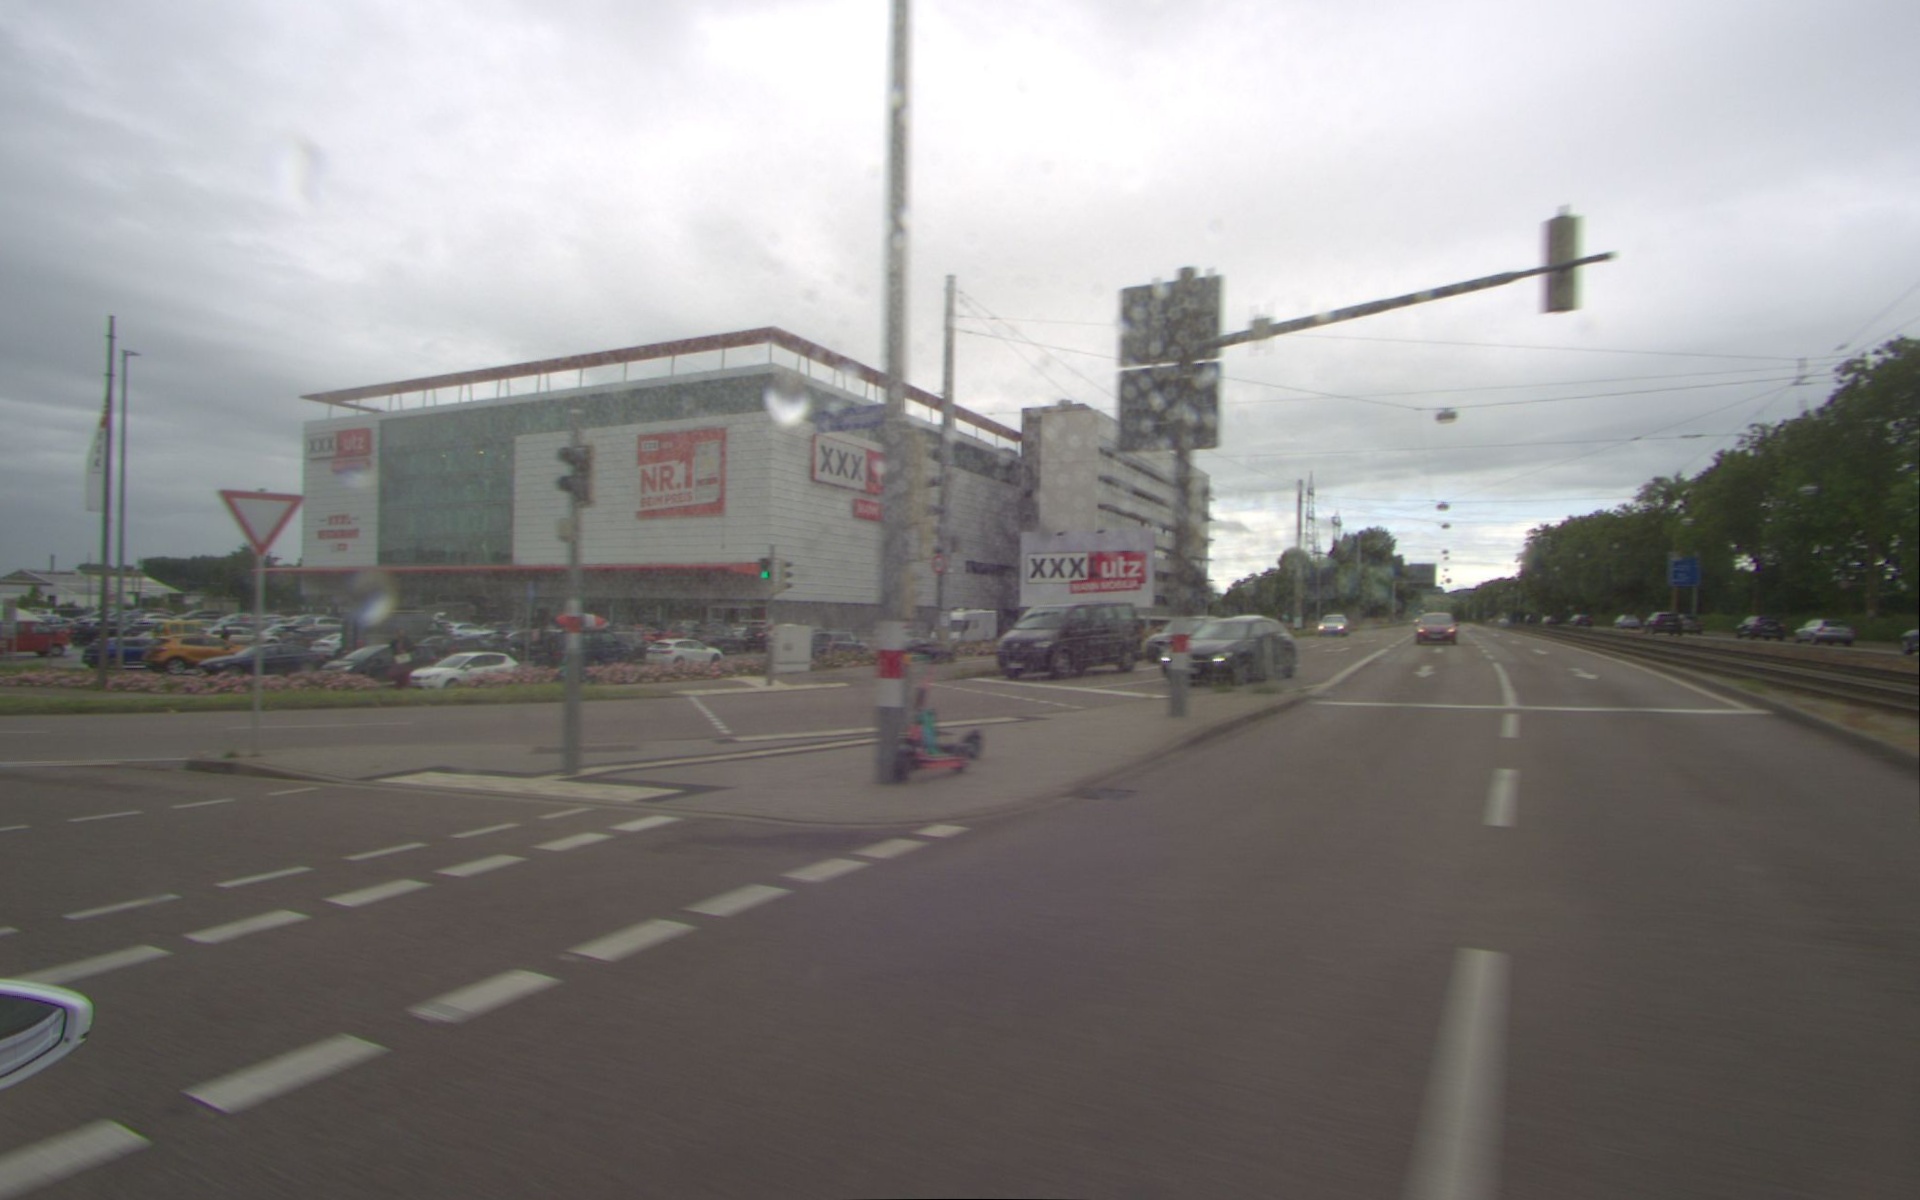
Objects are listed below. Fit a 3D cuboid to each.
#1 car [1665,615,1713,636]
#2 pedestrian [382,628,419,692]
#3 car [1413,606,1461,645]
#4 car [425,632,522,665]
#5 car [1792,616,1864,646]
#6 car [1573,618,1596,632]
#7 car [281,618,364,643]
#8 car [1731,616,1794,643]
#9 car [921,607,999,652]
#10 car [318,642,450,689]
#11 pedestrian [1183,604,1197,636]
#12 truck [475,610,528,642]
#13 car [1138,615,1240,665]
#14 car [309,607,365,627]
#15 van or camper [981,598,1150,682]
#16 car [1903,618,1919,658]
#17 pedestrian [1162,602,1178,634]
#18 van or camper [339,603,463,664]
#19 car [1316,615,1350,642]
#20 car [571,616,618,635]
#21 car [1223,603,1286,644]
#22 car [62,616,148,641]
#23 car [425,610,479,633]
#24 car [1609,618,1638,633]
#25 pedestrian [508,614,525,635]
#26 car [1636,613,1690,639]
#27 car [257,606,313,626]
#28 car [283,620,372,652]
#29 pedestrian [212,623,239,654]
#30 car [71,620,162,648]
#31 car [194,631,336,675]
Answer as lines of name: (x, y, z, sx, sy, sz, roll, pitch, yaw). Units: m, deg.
car: (59.822, 2.099, 82.228, 1.829, 1.582, 4.310, 4, 0, 18)
pedestrian: (-14.595, 1.560, 26.118, 0.708, 1.617, 0.778, 0, -2, -39)
car: (22.638, 1.185, 47.488, 1.968, 1.750, 3.986, 0, -1, 26)
car: (-24.399, 2.388, 50.321, 1.920, 1.575, 3.979, 0, -2, 33)
car: (47.996, 1.688, 55.459, 1.703, 1.529, 3.625, 3, 1, 20)
car: (73.833, 2.939, 118.418, 1.723, 1.450, 3.364, 3, 1, 25)
car: (-41.512, 2.030, 65.304, 1.712, 1.488, 4.236, 3, -1, 29)
car: (52.093, 1.900, 65.100, 1.830, 1.582, 4.309, 4, 0, 20)
car: (0.099, 2.149, 72.646, 2.724, 3.028, 6.928, 3, 0, 26)
car: (-22.169, 2.476, 38.683, 1.742, 1.604, 4.090, 2, -1, 28)
pedestrian: (12.882, 1.125, 56.049, 0.537, 1.805, 0.633, 3, 0, 25)
truck: (-36.514, 2.091, 79.830, 1.712, 2.417, 3.569, 0, -2, 27)
car: (7.627, 1.270, 33.072, 1.941, 1.483, 4.298, 0, 0, 33)
car: (-51.612, 1.422, 82.993, 1.714, 1.607, 3.563, 0, -2, 32)
van or camper: (2.932, 1.024, 27.023, 2.102, 2.040, 4.710, -2, -1, 43)
car: (34.269, 1.363, 34.161, 1.714, 1.420, 4.066, 2, 0, 23)
pedestrian: (11.893, 1.017, 56.731, 0.686, 1.814, 0.641, 3, 0, 22)
van or camper: (-29.166, 1.723, 52.418, 1.965, 3.022, 5.365, 0, -1, 36)
car: (25.017, 1.919, 67.102, 1.718, 1.623, 4.063, 3, 0, 26)
car: (-33.167, 2.310, 90.971, 1.801, 1.574, 3.792, 3, 0, 27)
car: (12.337, 0.966, 41.804, 1.706, 1.559, 4.031, 3, 0, 27)
car: (-59.039, 1.974, 69.239, 1.806, 1.685, 4.168, 0, -2, 30)
car: (-44.674, 1.913, 88.107, 1.773, 1.846, 3.988, 3, 0, 25)
car: (68.259, 2.640, 103.014, 1.790, 1.500, 3.662, 3, 0, 24)
pedestrian: (-40.505, 2.248, 91.427, 0.951, 1.894, 0.950, 3, 0, 7)
car: (48.785, 1.773, 69.577, 1.805, 1.658, 4.310, 2, 0, 18)
car: (-58.203, 1.418, 86.402, 1.714, 1.607, 3.563, 0, -2, 32)
car: (-35.601, 1.994, 56.483, 1.802, 1.676, 3.890, 1, 1, 26)
pedestrian: (-42.788, 2.260, 58.347, 0.871, 1.742, 0.939, 3, 0, 26)
car: (-57.038, 2.290, 67.794, 1.860, 1.766, 4.308, 2, -1, 30)
car: (-28.867, 2.175, 41.756, 1.742, 1.604, 4.522, 4, 0, 30)
